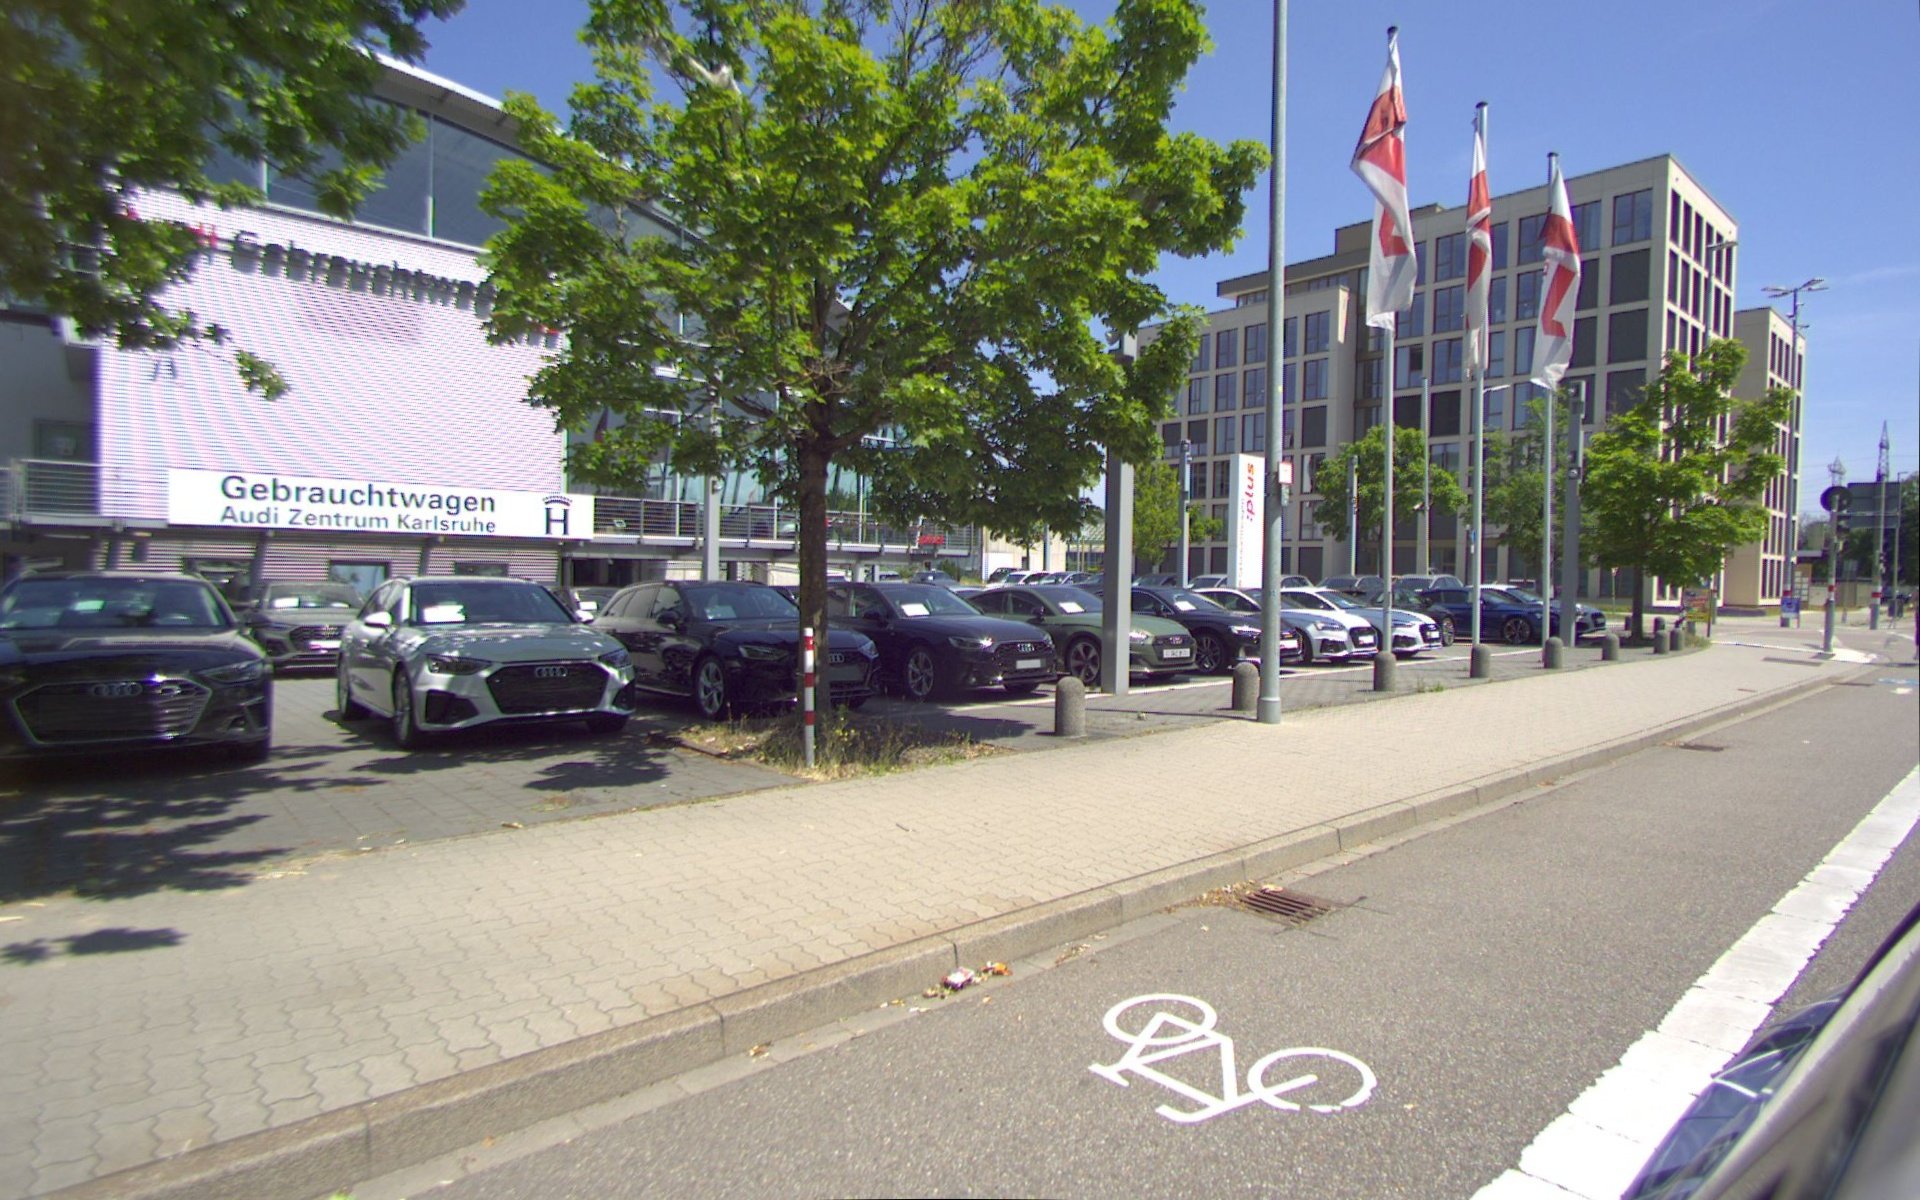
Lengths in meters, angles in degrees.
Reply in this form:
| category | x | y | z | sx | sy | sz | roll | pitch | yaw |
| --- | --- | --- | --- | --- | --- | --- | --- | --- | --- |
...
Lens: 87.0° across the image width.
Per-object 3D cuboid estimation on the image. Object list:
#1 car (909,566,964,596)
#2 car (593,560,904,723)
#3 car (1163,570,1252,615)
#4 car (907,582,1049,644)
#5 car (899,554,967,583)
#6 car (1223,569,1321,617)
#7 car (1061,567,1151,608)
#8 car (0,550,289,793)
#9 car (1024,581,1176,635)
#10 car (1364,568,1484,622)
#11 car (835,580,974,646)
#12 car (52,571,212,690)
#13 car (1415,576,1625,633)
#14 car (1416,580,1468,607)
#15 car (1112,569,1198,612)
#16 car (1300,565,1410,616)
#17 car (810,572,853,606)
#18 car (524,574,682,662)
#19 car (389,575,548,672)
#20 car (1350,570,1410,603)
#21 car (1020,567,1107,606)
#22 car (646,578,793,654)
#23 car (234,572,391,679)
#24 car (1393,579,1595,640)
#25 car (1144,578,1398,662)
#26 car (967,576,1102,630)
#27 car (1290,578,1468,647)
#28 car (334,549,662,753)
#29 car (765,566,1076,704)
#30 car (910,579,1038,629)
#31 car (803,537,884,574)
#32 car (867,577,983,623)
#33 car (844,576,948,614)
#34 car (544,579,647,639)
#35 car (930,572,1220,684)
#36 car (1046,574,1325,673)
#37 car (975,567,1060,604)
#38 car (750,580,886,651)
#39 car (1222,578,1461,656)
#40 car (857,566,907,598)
| category | x | y | z | sx | sy | sz | roll | pitch | yaw |
| --- | --- | --- | --- | --- | --- | --- | --- | --- | --- |
| car | -1.323 | -1.074 | 55.238 | 1.811 | 1.489 | 4.628 | 1 | 2 | -17 |
| car | -2.453 | 0.377 | 11.146 | 1.802 | 1.472 | 3.687 | -1 | 0 | -41 |
| car | 9.585 | -0.276 | 39.074 | 1.637 | 1.636 | 3.756 | 1 | 0 | 44 |
| car | 0.443 | 0.335 | 28.600 | 1.818 | 1.619 | 3.992 | 0 | 0 | -41 |
| car | -1.733 | -1.948 | 62.625 | 1.879 | 1.715 | 4.587 | 0 | 2 | -38 |
| car | 11.457 | -0.253 | 37.027 | 1.844 | 1.675 | 3.935 | -1 | 0 | 44 |
| car | 6.285 | -0.519 | 43.244 | 1.844 | 1.675 | 3.935 | -1 | 0 | 44 |
| car | -6.594 | 0.432 | 7.874 | 1.784 | 1.419 | 4.238 | 0 | 0 | -41 |
| car | 4.292 | 0.209 | 30.565 | 4.630 | 1.535 | 1.879 | -1 | 0 | -38 |
| car | 15.238 | -0.208 | 33.162 | 4.425 | 1.577 | 1.872 | -2 | 4 | -40 |
| car | -1.545 | 0.328 | 27.016 | 1.628 | 1.642 | 3.992 | 0 | 0 | -41 |
| car | -13.385 | 0.430 | 16.350 | 1.818 | 1.675 | 3.992 | 0 | 0 | -41 |
| car | 14.984 | 0.128 | 27.287 | 1.836 | 1.408 | 4.600 | -1 | 0 | -41 |
| car | 28.314 | -0.431 | 59.596 | 1.672 | 1.450 | 3.991 | 1 | 2 | 9 |
| car | 7.988 | -0.413 | 41.253 | 1.629 | 1.675 | 3.849 | 1 | 1 | 44 |
| car | 13.839 | -0.332 | 35.364 | 3.926 | 1.675 | 1.848 | -1 | 0 | -38 |
| car | -6.443 | -0.589 | 50.436 | 1.812 | 1.590 | 4.007 | 1 | 2 | -11 |
| car | -7.577 | 0.346 | 21.289 | 1.818 | 1.675 | 3.992 | 0 | 0 | -41 |
| car | -9.622 | 0.412 | 19.666 | 1.818 | 1.675 | 3.992 | 0 | 0 | -41 |
| car | 25.817 | -0.816 | 62.327 | 1.885 | 1.910 | 4.928 | 1 | 1 | 4 |
| car | 4.671 | -0.581 | 45.466 | 1.844 | 1.675 | 3.935 | -1 | 0 | 44 |
| car | -5.559 | 0.341 | 23.097 | 1.605 | 1.593 | 3.989 | 0 | 0 | -41 |
| car | -11.591 | 0.406 | 18.008 | 1.818 | 1.675 | 3.992 | 0 | 0 | -41 |
| car | 13.354 | 0.214 | 25.488 | 1.836 | 1.408 | 4.102 | -1 | 0 | -41 |
| car | 5.566 | 0.332 | 18.523 | 1.836 | 1.366 | 4.106 | -1 | 0 | -41 |
| car | 2.448 | 0.081 | 32.860 | 4.230 | 1.647 | 1.879 | -1 | 0 | -38 |
| car | 9.717 | 0.249 | 23.314 | 4.579 | 1.438 | 1.866 | -1 | 0 | -40 |
| car | -4.379 | 0.370 | 9.304 | 1.802 | 1.472 | 3.687 | -1 | 0 | -41 |
| car | -0.651 | 0.383 | 12.962 | 1.836 | 1.472 | 4.107 | -1 | 0 | -41 |
| car | 0.543 | 0.104 | 35.449 | 4.265 | 1.647 | 1.879 | -1 | 0 | -38 |
| car | -6.758 | -2.544 | 58.136 | 1.882 | 1.991 | 5.241 | 0 | 2 | -43 |
| car | -1.243 | -0.033 | 37.065 | 3.929 | 1.559 | 1.856 | 0 | 2 | -40 |
| car | -2.434 | -0.212 | 39.161 | 3.752 | 1.363 | 1.677 | 0 | 2 | -40 |
| car | -10.621 | 0.240 | 29.368 | 1.613 | 1.630 | 3.653 | 0 | 0 | -41 |
| car | 1.564 | 0.361 | 14.964 | 1.836 | 1.422 | 4.107 | -1 | 0 | -41 |
| car | 3.583 | 0.340 | 16.689 | 1.836 | 1.408 | 4.233 | -1 | 0 | -41 |
| car | 2.729 | -0.656 | 47.509 | 1.844 | 1.675 | 3.935 | -1 | 0 | 44 |
| car | -3.550 | 0.356 | 24.909 | 1.613 | 1.600 | 3.653 | 0 | 0 | -41 |
| car | 7.525 | 0.310 | 20.247 | 1.842 | 1.381 | 4.102 | -1 | 0 | -41 |
| car | -4.055 | -0.973 | 52.178 | 1.653 | 1.522 | 3.811 | -2 | 3 | -19 |
